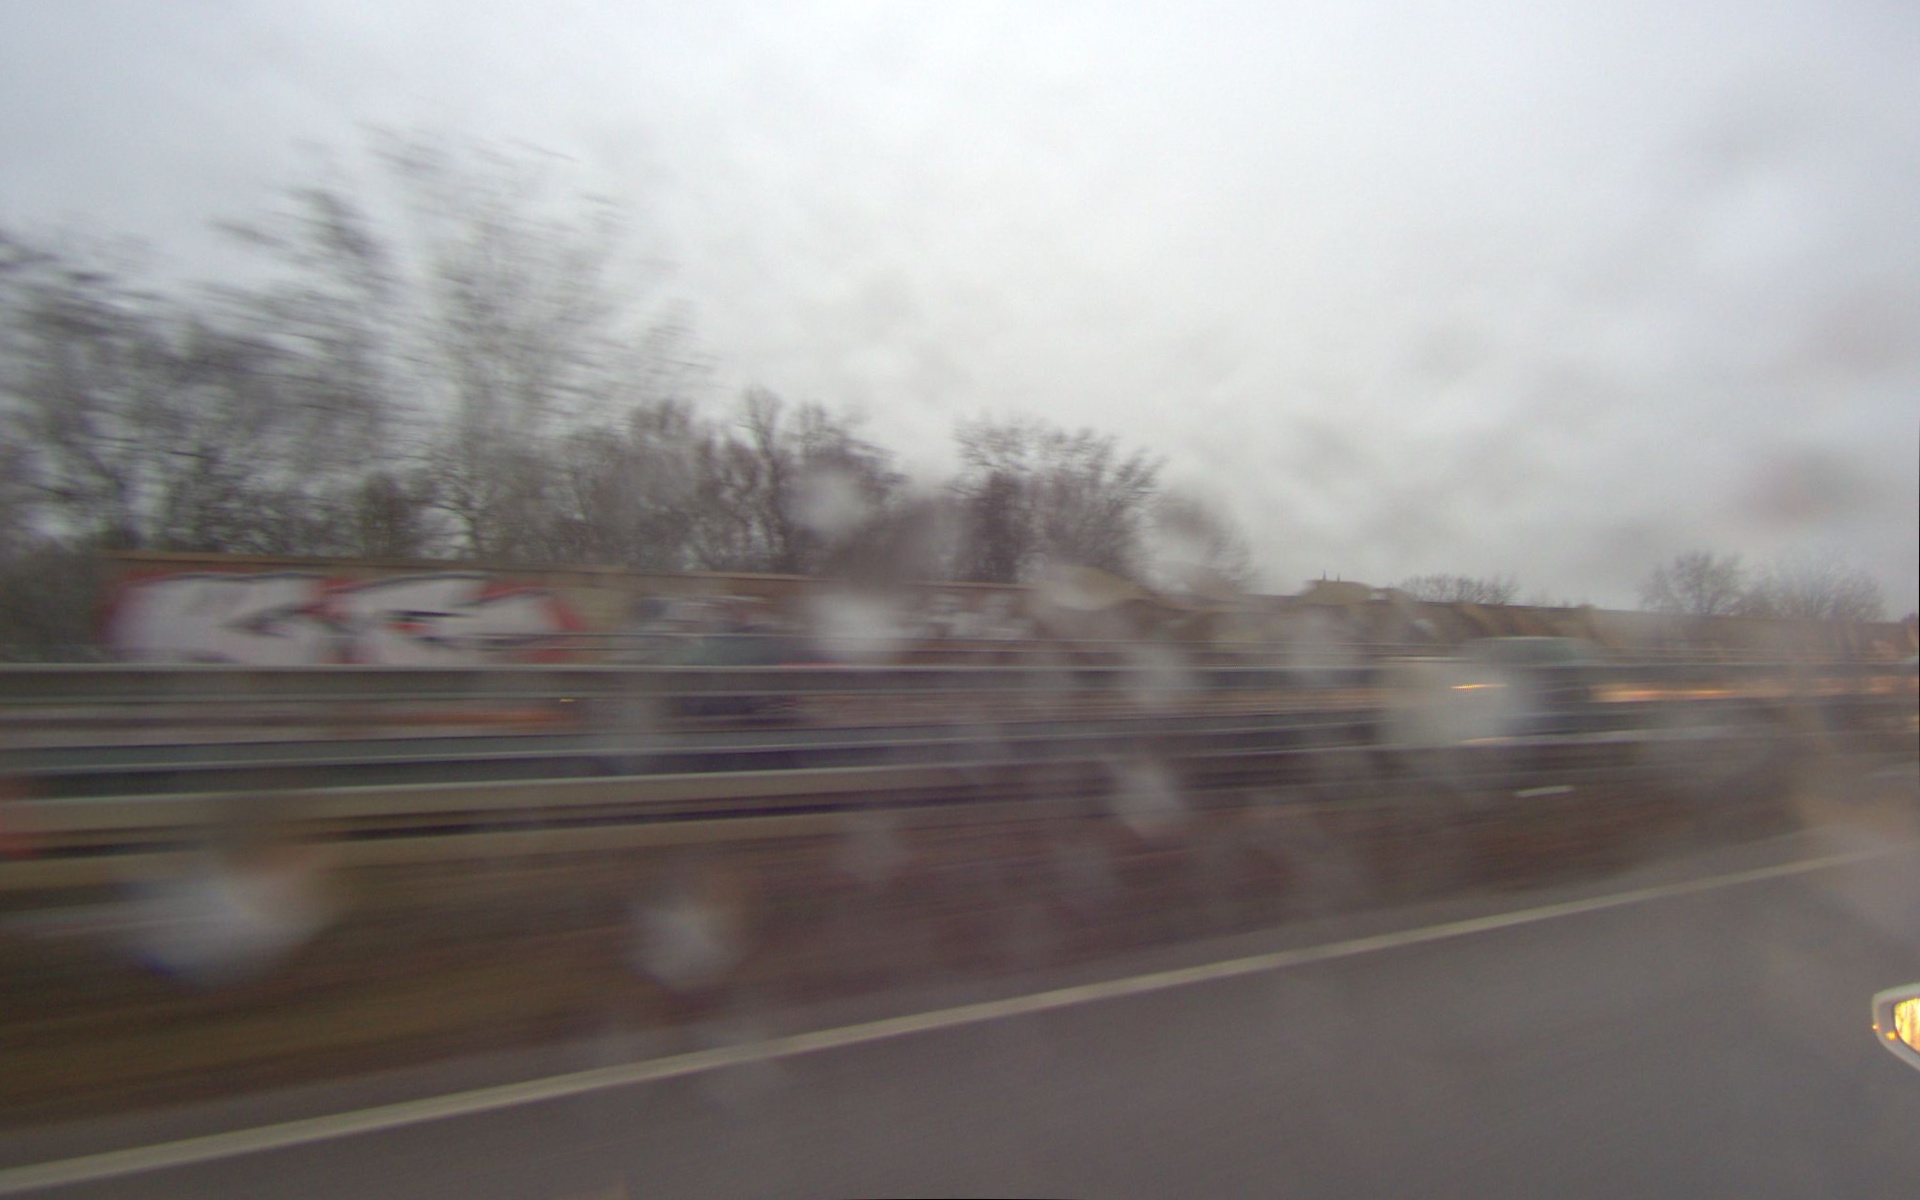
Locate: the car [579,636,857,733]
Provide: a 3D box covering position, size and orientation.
[{"bbox_3d":[-3.985,1.349,16.619,4.243,1.422,1.784,1,-1,-20],"label":"car"}]

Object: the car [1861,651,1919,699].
[{"bbox_3d":[32.054,2.472,33.269,4.404,1.484,1.887,2,-2,-28],"label":"car"}]

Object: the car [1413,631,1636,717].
[{"bbox_3d":[11.754,1.479,20.823,4.791,1.585,1.778,2,-1,-29],"label":"car"}]
